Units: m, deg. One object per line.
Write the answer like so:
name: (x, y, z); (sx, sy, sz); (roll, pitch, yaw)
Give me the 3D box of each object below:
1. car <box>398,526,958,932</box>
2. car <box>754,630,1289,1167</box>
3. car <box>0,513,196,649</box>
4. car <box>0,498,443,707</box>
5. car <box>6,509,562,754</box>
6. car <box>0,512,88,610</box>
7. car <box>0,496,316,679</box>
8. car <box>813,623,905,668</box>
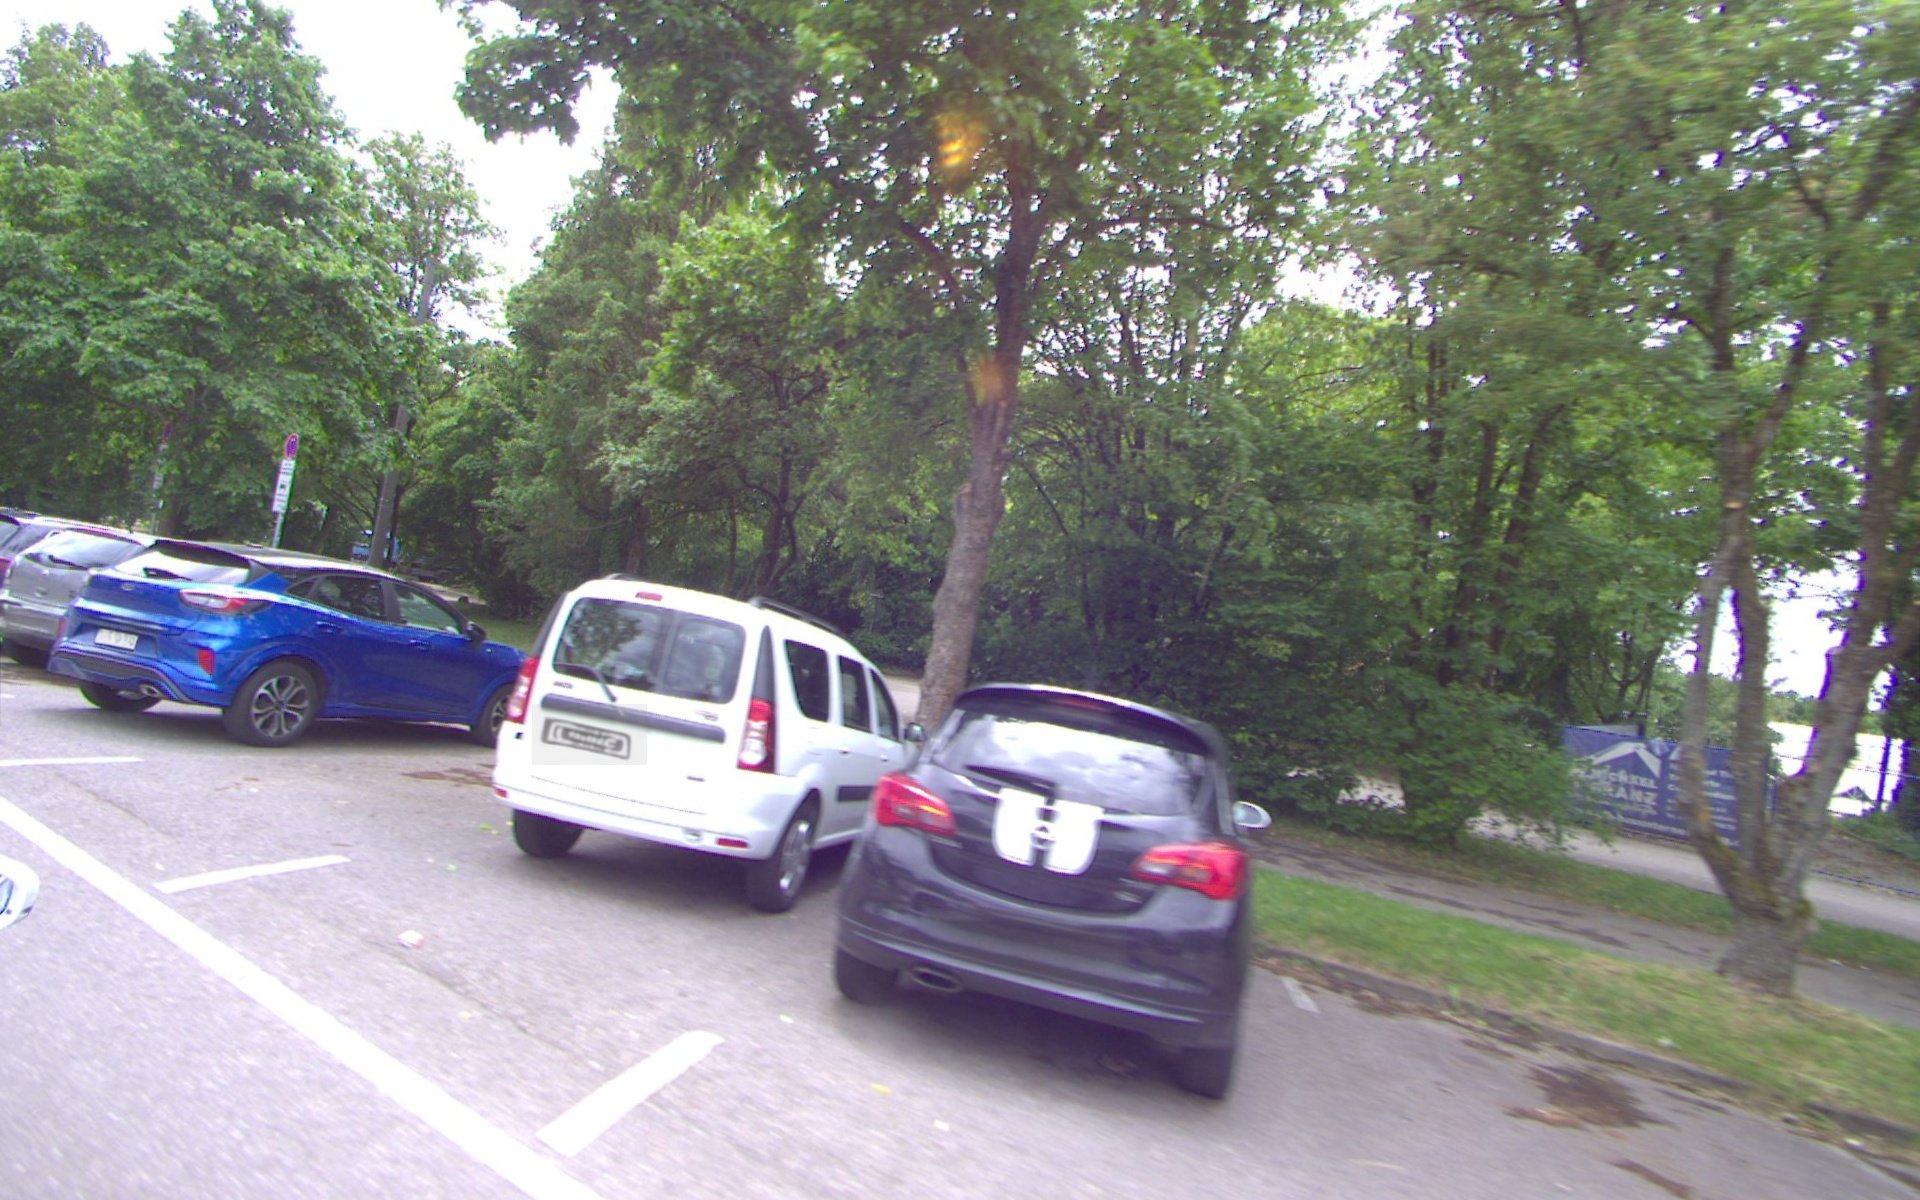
car: (-1.465, 0.856, 6.909); (1.842, 1.736, 3.844); (8, -6, 14)
car: (0.745, 1.261, 5.367); (1.714, 1.481, 3.843); (9, -6, 19)
car: (-12.492, -0.395, 12.888); (1.795, 1.439, 3.899); (8, -6, 14)
car: (-7.859, 0.184, 10.922); (1.713, 1.542, 3.844); (8, -6, 14)
car: (-5.646, 0.461, 9.104); (1.713, 1.542, 3.844); (8, -6, 14)
car: (-16.704, -0.924, 16.010); (1.713, 1.438, 3.844); (8, -6, 14)
car: (-9.809, -0.119, 11.484); (1.713, 1.542, 3.844); (8, -6, 14)
car: (-4.538, 2.092, 45.773); (1.774, 1.425, 3.990); (6, -4, 39)
